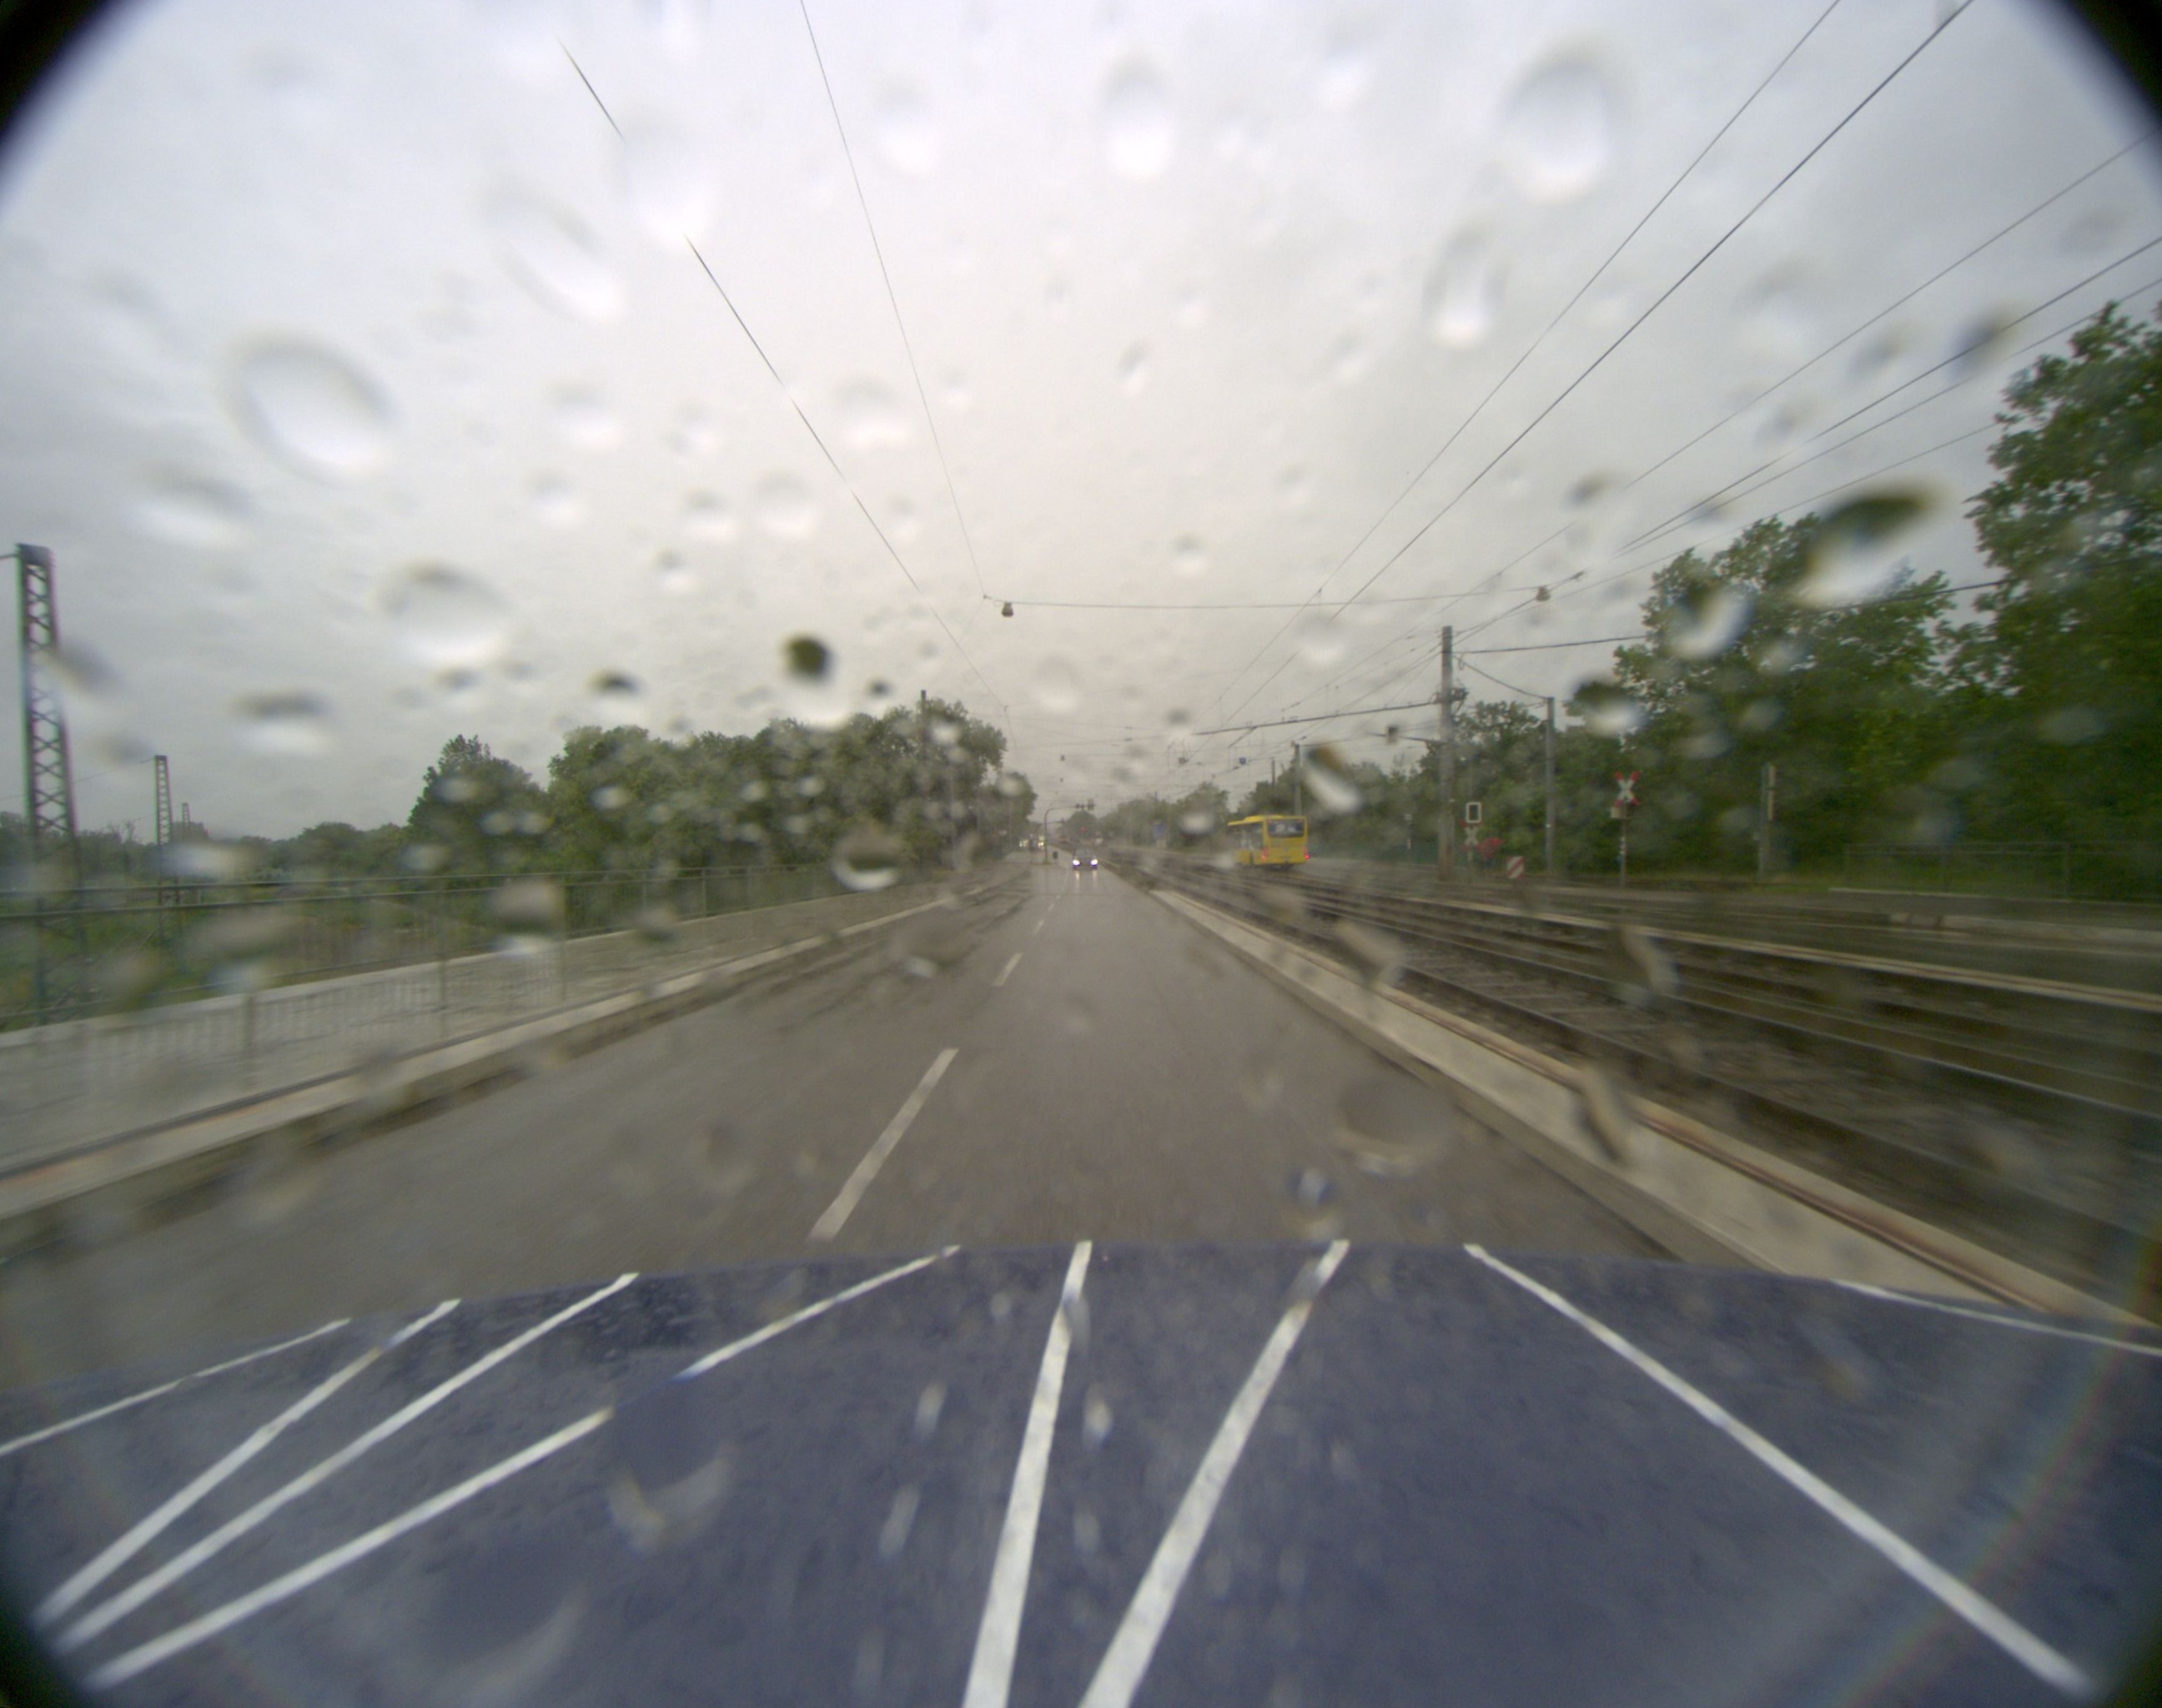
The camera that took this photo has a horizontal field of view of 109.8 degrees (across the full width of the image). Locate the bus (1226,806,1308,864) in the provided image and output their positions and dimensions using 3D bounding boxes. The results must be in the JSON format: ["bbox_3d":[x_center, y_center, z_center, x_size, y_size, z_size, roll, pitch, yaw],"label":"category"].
[{"bbox_3d":[11.803,-1.104,49.338,2.715,3.321,10.993,0,0,1],"label":"bus"}]

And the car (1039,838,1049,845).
[{"bbox_3d":[-8.375,-2.829,172.255,1.999,1.395,4.194,-3,1,-4],"label":"car"}]

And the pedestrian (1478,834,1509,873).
[{"bbox_3d":[19.761,-0.032,36.423,0.866,1.809,1.042,-3,3,-1],"label":"pedestrian"}]

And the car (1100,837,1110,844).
[{"bbox_3d":[5.857,-3.308,187.266,1.999,1.639,5.368,-3,2,-4],"label":"car"}]

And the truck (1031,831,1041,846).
[{"bbox_3d":[-12.324,-4.250,209.338,2.568,3.848,7.841,-3,1,-4],"label":"truck"}]

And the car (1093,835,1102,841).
[{"bbox_3d":[4.836,-4.880,225.915,1.999,1.639,5.368,-3,2,-4],"label":"car"}]

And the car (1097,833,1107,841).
[{"bbox_3d":[5.619,-4.699,204.371,1.999,2.032,5.025,-3,2,-4],"label":"car"}]

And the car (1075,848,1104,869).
[{"bbox_3d":[0.627,0.304,61.421,1.999,1.497,4.194,-3,1,-4],"label":"car"}]
